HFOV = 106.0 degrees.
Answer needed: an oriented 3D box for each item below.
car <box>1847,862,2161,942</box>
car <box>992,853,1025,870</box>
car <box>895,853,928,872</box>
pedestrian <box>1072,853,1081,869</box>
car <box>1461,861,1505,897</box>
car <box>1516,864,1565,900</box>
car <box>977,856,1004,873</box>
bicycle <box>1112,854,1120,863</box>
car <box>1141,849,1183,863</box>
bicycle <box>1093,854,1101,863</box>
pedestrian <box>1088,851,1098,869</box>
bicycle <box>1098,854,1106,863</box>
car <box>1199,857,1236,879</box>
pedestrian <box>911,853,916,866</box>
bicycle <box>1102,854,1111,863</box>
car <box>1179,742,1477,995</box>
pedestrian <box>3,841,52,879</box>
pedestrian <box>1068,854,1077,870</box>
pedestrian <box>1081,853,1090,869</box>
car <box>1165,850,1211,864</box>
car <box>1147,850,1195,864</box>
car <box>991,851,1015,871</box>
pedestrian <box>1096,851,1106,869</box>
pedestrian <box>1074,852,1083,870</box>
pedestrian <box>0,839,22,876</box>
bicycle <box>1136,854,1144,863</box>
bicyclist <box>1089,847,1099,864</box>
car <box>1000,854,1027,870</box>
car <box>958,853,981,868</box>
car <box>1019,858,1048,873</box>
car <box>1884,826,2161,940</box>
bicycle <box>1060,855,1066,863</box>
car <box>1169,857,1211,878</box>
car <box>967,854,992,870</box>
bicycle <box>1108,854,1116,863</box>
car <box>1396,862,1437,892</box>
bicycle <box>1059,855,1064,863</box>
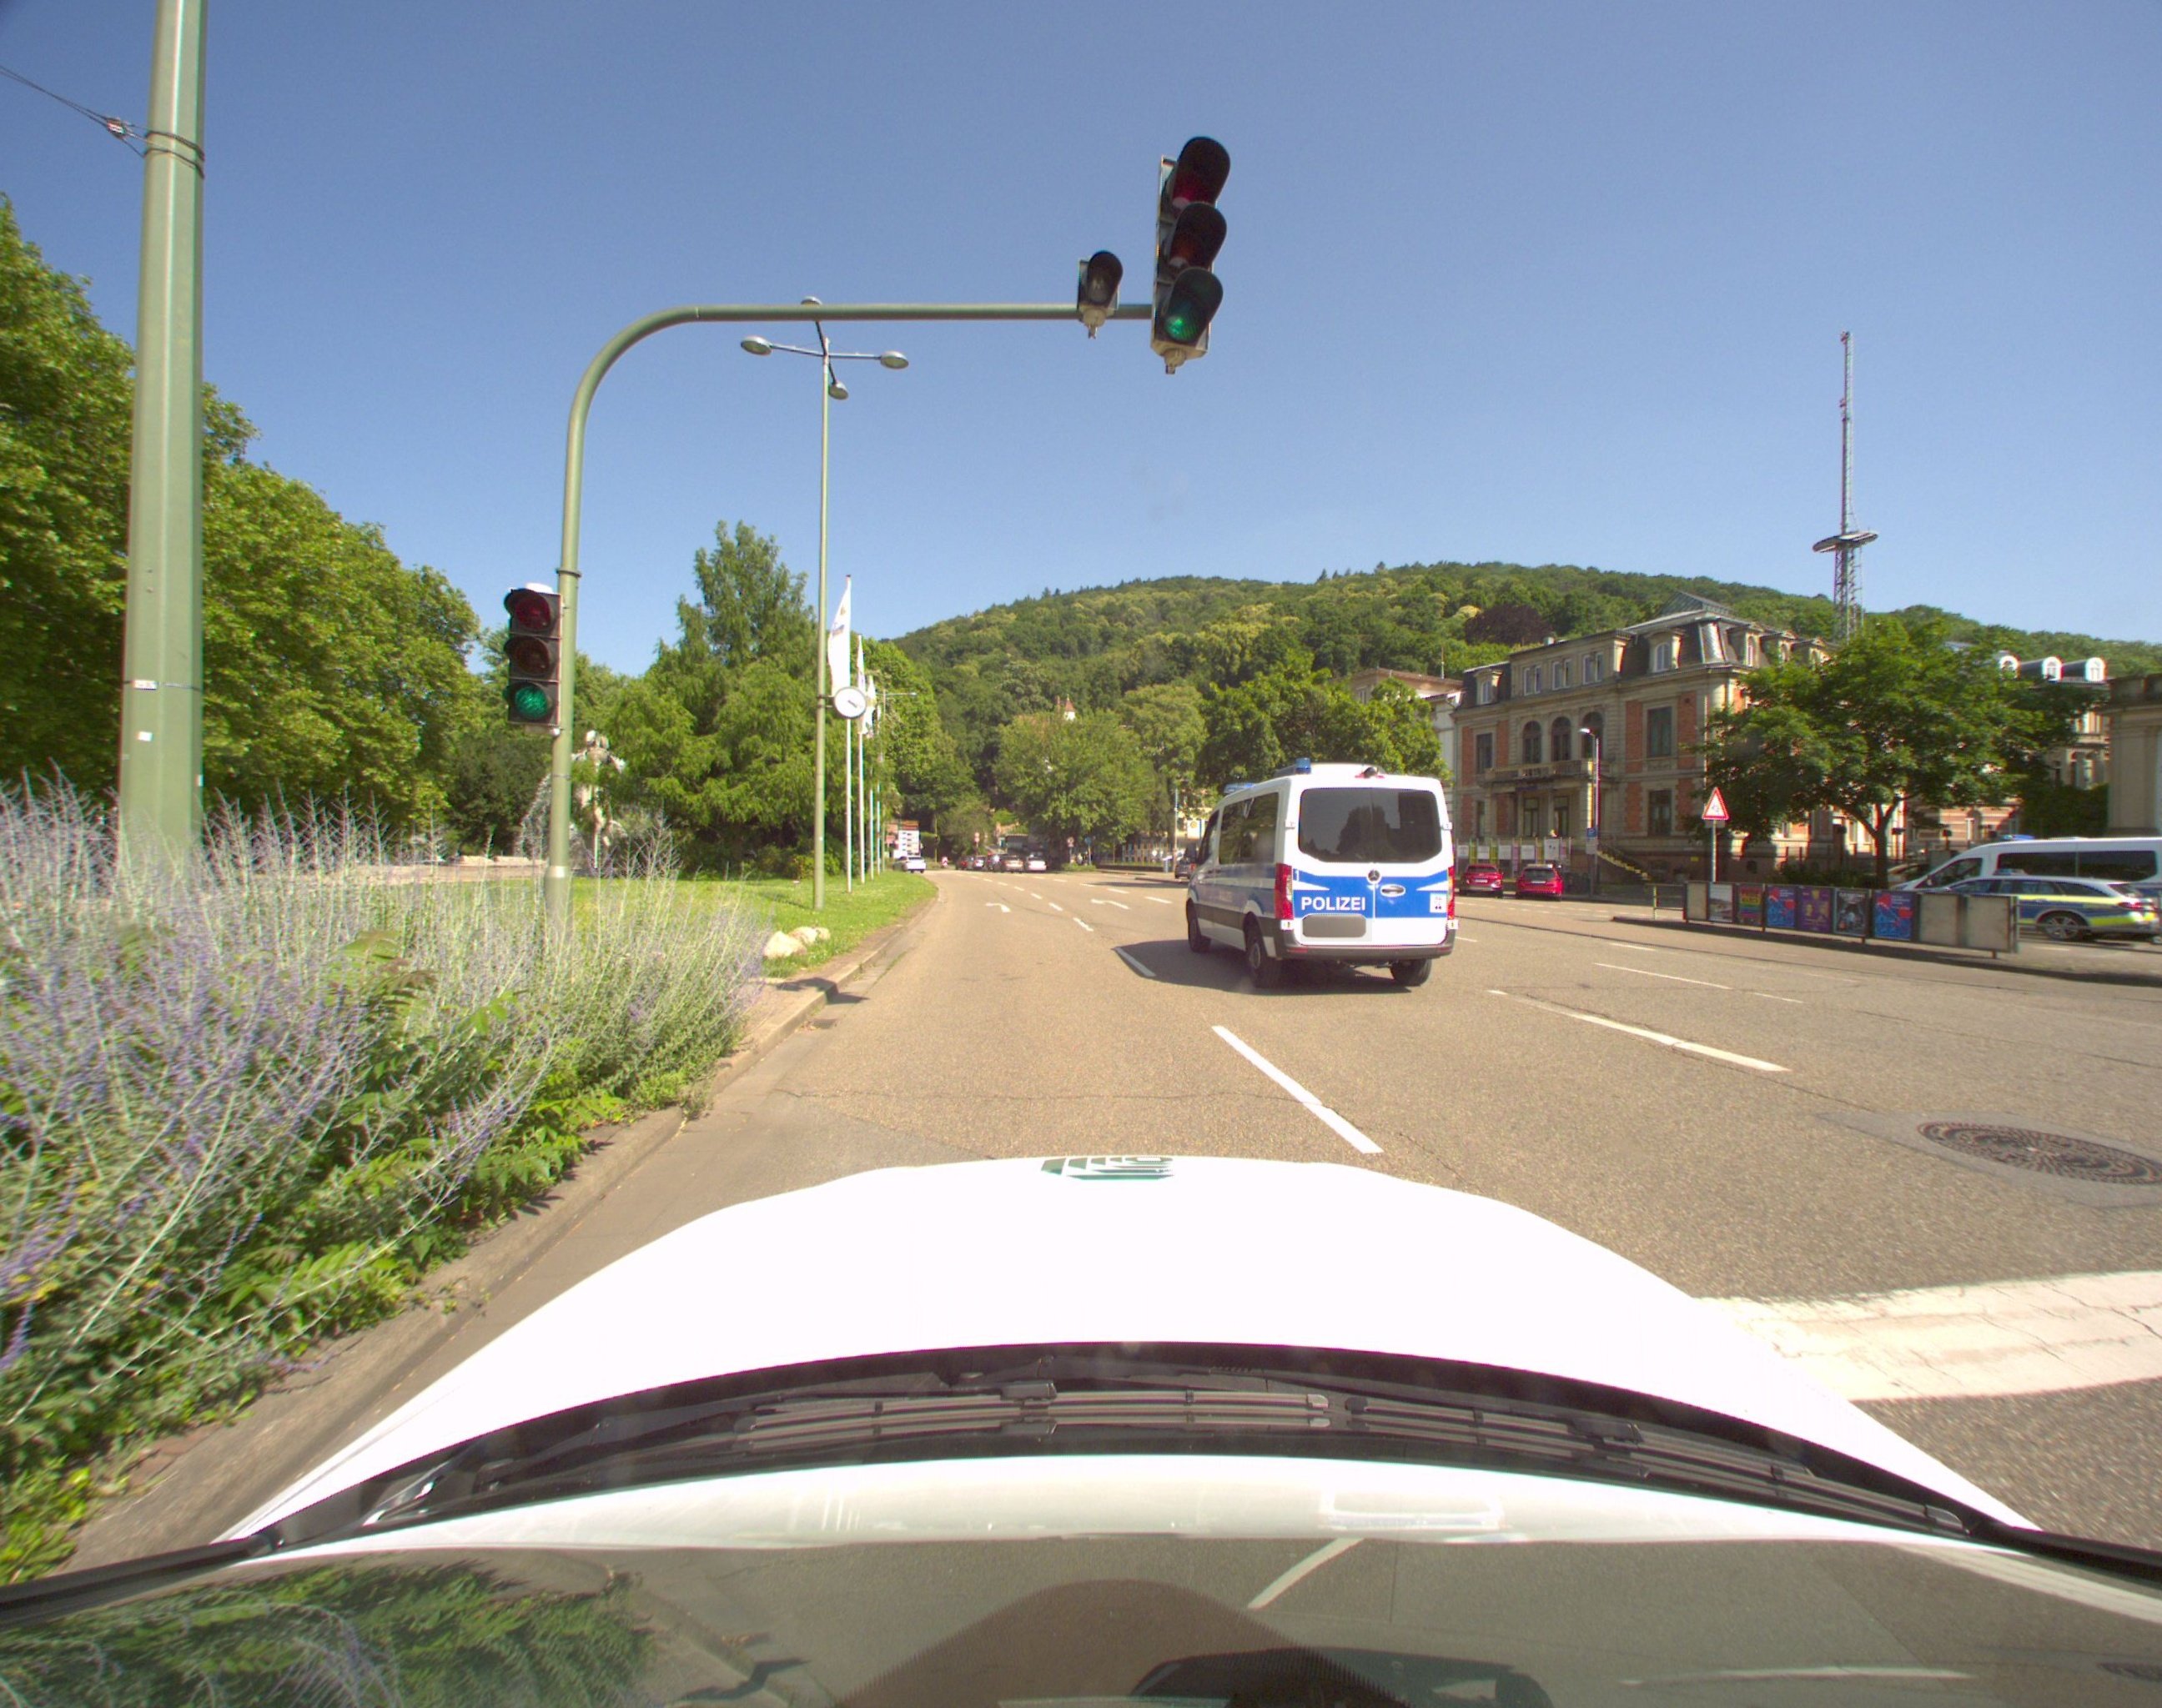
[{"bbox_3d":[22.359,1.064,20.007,1.826,1.626,4.838,1,0,-26],"label":"car"},{"bbox_3d":[-5.919,0.603,66.136,1.762,1.334,3.777,1,0,-19],"label":"car"},{"bbox_3d":[-14.016,0.705,67.218,1.852,1.460,3.464,1,0,-26],"label":"car"},{"bbox_3d":[-0.529,0.782,87.237,0.772,1.663,0.825,1,0,-16],"label":"pedestrian"},{"bbox_3d":[18.740,1.108,37.902,1.728,1.575,3.901,1,0,27],"label":"car"},{"bbox_3d":[19.803,1.161,35.038,1.727,1.418,3.724,1,0,31],"label":"car"},{"bbox_3d":[-7.970,0.913,71.813,1.760,1.461,3.474,1,0,-17],"label":"car"},{"bbox_3d":[4.450,0.557,103.386,0.538,1.085,1.826,0,0,-14],"label":"bicycle"},{"bbox_3d":[8.599,0.212,86.457,4.158,1.476,1.864,0,0,-22],"label":"car"},{"bbox_3d":[2.023,0.570,102.795,0.538,1.085,1.826,0,0,-14],"label":"bicycle"},{"bbox_3d":[1.292,0.639,85.884,0.773,1.854,0.824,1,0,-18],"label":"pedestrian"},{"bbox_3d":[2.597,0.567,102.959,0.538,1.085,1.826,0,0,-14],"label":"bicycle"},{"bbox_3d":[9.786,0.997,58.113,1.693,1.511,3.833,1,0,24],"label":"car"},{"bbox_3d":[-20.058,0.677,97.618,0.546,1.621,0.633,0,0,-7],"label":"pedestrian"},{"bbox_3d":[3.224,0.563,103.017,0.538,1.085,1.826,0,0,-14],"label":"bicycle"},{"bbox_3d":[2.797,0.173,10.622,2.070,2.508,4.921,1,-1,-5],"label":"car"},{"bbox_3d":[-35.060,0.190,27.109,0.750,1.226,0.671,1,0,5],"label":"pedestrian"},{"bbox_3d":[-0.924,0.811,86.039,0.772,1.663,0.825,1,0,-16],"label":"pedestrian"},{"bbox_3d":[0.471,0.704,85.705,0.772,1.663,0.825,1,0,-15],"label":"pedestrian"},{"bbox_3d":[10.399,0.241,79.381,4.097,1.336,1.810,0,0,-19],"label":"car"},{"bbox_3d":[9.052,0.297,81.615,4.480,1.336,1.810,0,0,-19],"label":"car"},{"bbox_3d":[-8.049,0.697,83.826,1.760,1.938,3.474,1,0,-17],"label":"car"},{"bbox_3d":[2.130,0.612,86.060,0.773,1.854,0.824,1,0,-18],"label":"pedestrian"},{"bbox_3d":[-0.241,0.691,85.225,0.772,1.854,0.825,1,0,-15],"label":"pedestrian"},{"bbox_3d":[-36.131,0.100,26.956,0.750,1.226,1.060,1,0,5],"label":"pedestrian"},{"bbox_3d":[7.551,0.540,103.927,0.538,1.085,1.826,0,0,-14],"label":"bicycle"},{"bbox_3d":[1.604,0.169,97.095,1.124,1.932,0.747,0,-1,-4],"label":"bicyclist"},{"bbox_3d":[-6.387,0.747,76.595,1.760,1.461,3.625,1,0,-17],"label":"car"},{"bbox_3d":[-11.255,0.668,81.872,1.760,1.461,3.474,1,0,-17],"label":"car"},{"bbox_3d":[-4.173,0.987,71.108,1.760,1.213,3.474,1,0,-17],"label":"car"},{"bbox_3d":[24.763,0.661,21.119,2.003,2.603,5.274,1,0,-25],"label":"car"},{"bbox_3d":[-2.294,0.630,104.843,0.406,0.941,1.334,0,0,-16],"label":"bicycle"},{"bbox_3d":[8.110,0.989,60.235,1.805,1.461,4.132,1,0,27],"label":"car"},{"bbox_3d":[-9.572,0.711,76.530,1.760,1.461,3.625,1,0,-17],"label":"car"},{"bbox_3d":[3.877,0.560,103.207,0.538,1.085,1.826,0,0,-14],"label":"bicycle"},{"bbox_3d":[16.839,1.109,40.809,1.586,1.417,3.843,1,0,27],"label":"car"},{"bbox_3d":[-2.562,0.597,106.839,0.406,1.012,1.334,0,0,-16],"label":"bicycle"}]
